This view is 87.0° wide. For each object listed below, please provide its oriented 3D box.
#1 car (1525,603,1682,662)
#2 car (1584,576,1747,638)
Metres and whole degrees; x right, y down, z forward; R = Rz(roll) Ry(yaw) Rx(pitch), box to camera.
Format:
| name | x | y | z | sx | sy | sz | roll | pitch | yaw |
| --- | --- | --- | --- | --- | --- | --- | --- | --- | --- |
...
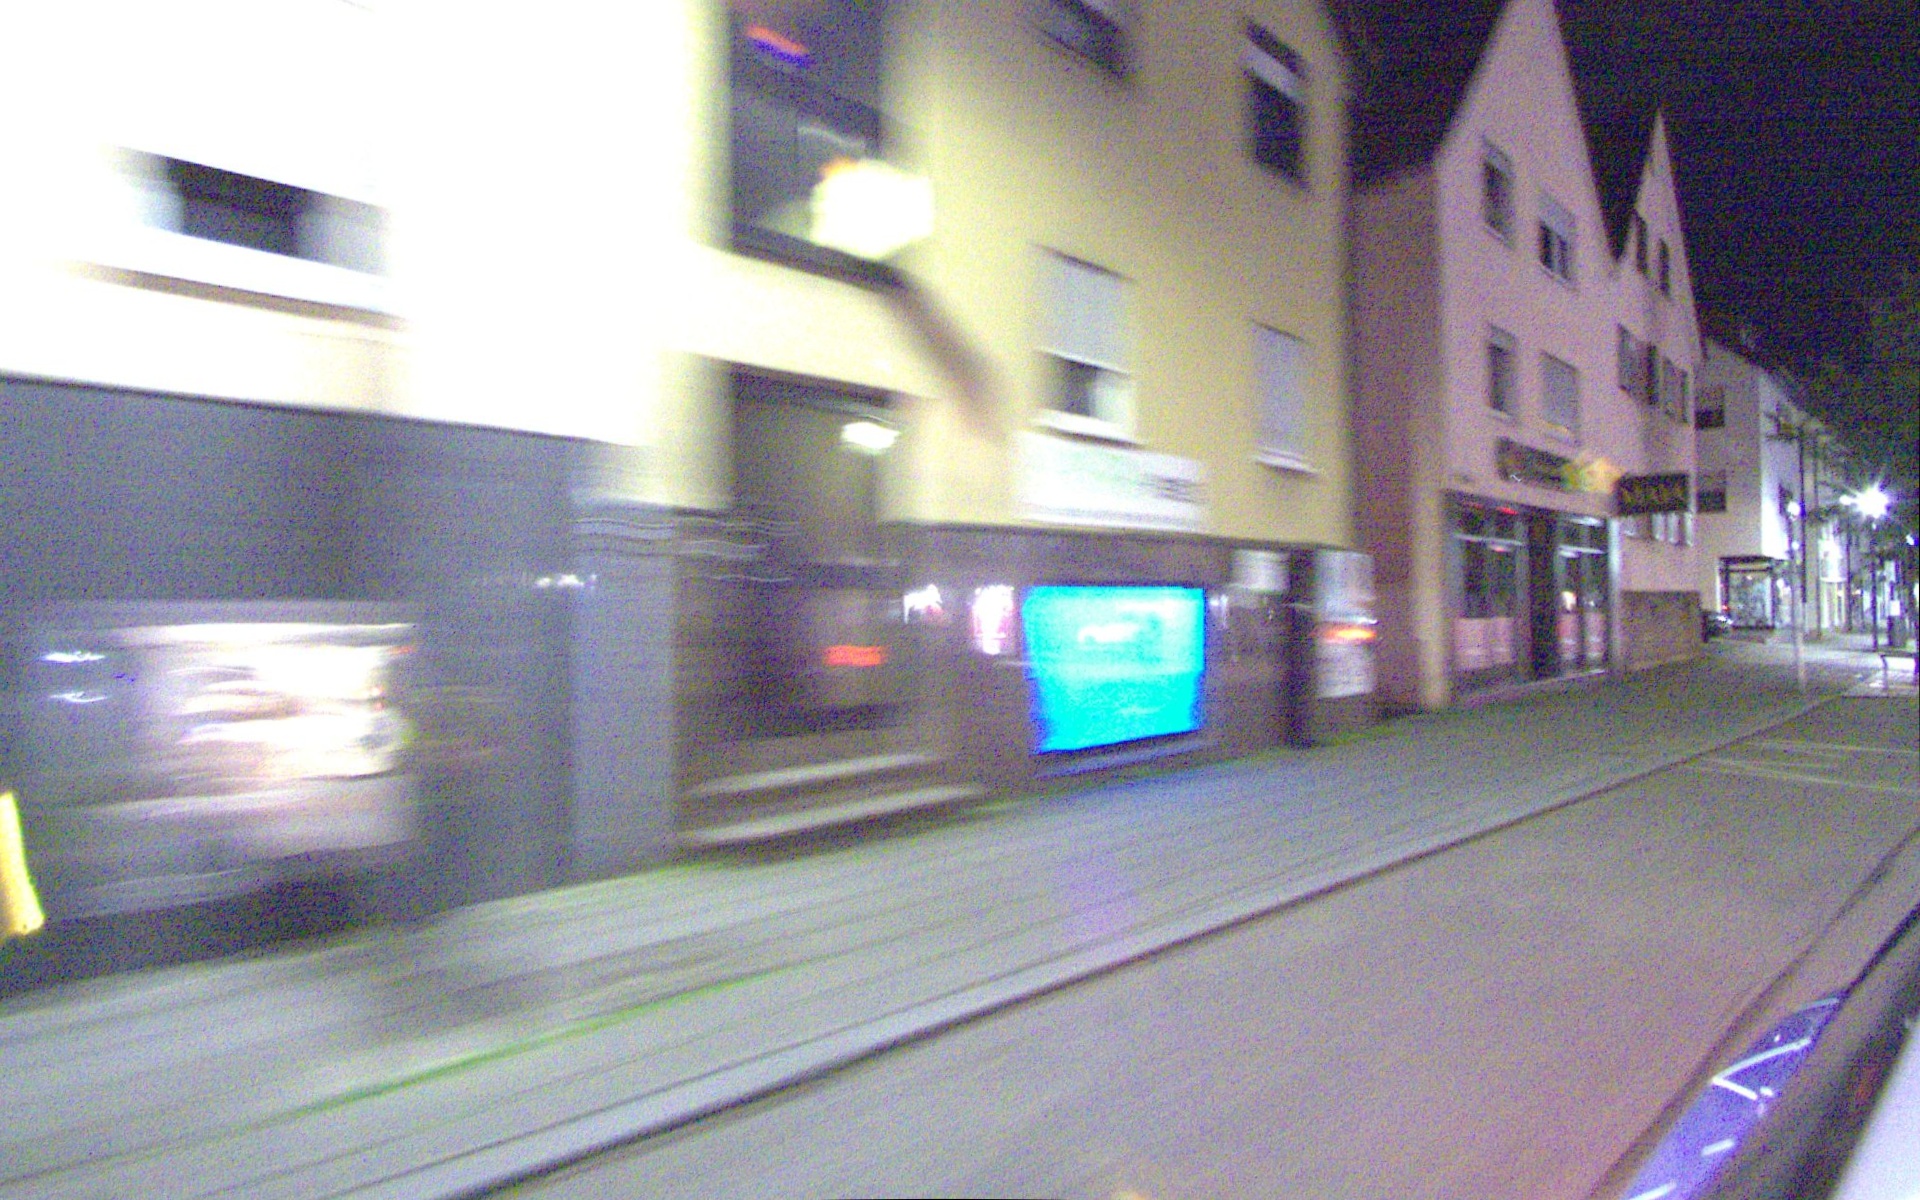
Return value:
| name | x | y | z | sx | sy | sz | roll | pitch | yaw |
| --- | --- | --- | --- | --- | --- | --- | --- | --- | --- |
| car | 18.108 | 0.862 | 28.542 | 1.618 | 1.298 | 3.399 | 1 | 4 | -44 |
| car | 22.261 | 0.187 | 32.026 | 1.618 | 1.606 | 3.911 | 1 | 4 | -44 |
